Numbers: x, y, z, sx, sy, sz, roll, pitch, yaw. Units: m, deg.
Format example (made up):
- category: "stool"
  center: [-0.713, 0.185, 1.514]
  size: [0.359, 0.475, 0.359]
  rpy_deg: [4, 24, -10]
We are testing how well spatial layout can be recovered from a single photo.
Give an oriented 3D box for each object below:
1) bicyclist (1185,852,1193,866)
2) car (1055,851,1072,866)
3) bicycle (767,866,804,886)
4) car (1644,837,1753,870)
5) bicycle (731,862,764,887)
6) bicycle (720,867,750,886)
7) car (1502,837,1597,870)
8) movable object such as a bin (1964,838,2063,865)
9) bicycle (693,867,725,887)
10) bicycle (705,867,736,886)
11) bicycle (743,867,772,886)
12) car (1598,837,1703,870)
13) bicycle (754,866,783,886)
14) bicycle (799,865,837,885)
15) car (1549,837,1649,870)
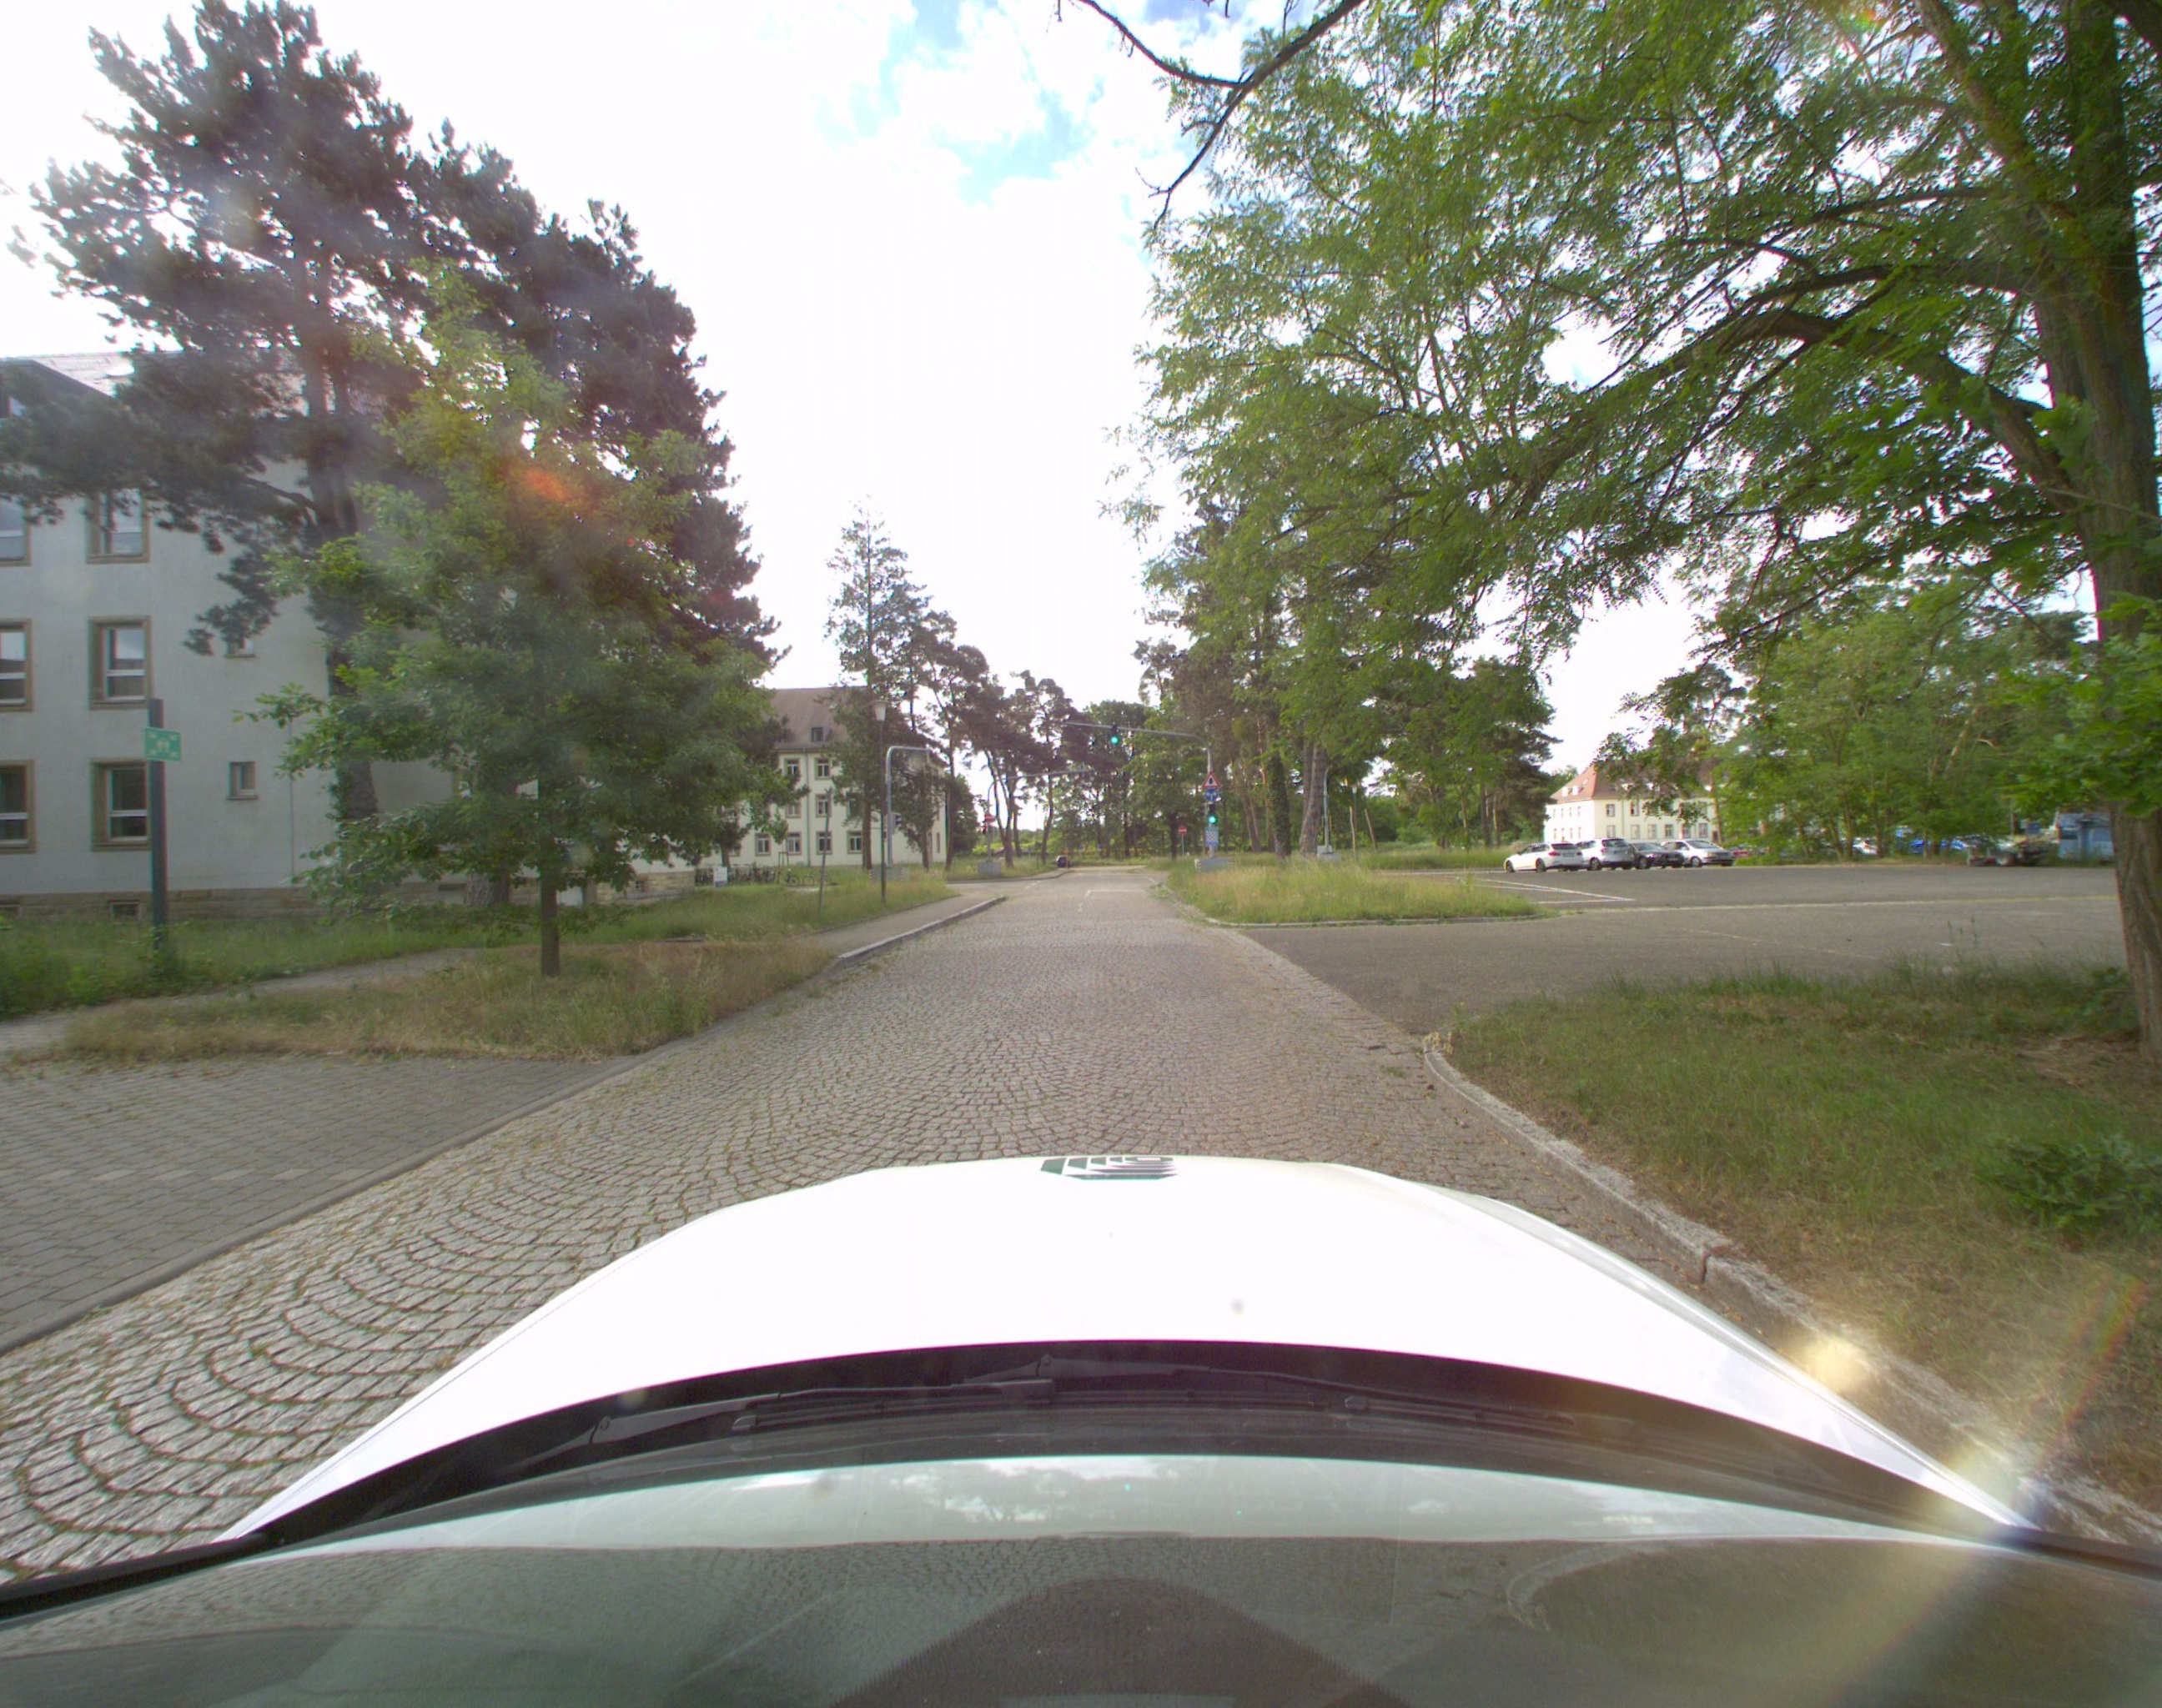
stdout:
- category: "bicyclist"
  center: [13.271, 0.628, 100.154]
  size: [0.751, 1.671, 0.523]
  rpy_deg: [0, -1, -19]
- category: "car"
  center: [-2.222, 0.610, 103.957]
  size: [2.049, 1.846, 4.001]
  rpy_deg: [-2, 0, 1]
- category: "bicycle"
  center: [-17.000, 1.246, 46.869]
  size: [1.848, 1.076, 0.739]
  rpy_deg: [-2, 0, 3]
- category: "car"
  center: [30.642, 0.009, 40.623]
  size: [1.988, 1.523, 4.422]
  rpy_deg: [0, -1, -2]
- category: "bicycle"
  center: [-19.818, 1.183, 48.457]
  size: [0.733, 1.385, 2.712]
  rpy_deg: [-2, 0, 2]
- category: "bicycle"
  center: [-20.611, 1.334, 48.584]
  size: [0.733, 1.076, 2.274]
  rpy_deg: [-2, 0, 2]
- category: "car"
  center: [22.781, 0.026, 39.844]
  size: [1.988, 1.481, 4.422]
  rpy_deg: [-2, -1, -2]
- category: "movable object such as a bin"
  center: [31.200, -0.084, 27.298]
  size: [1.179, 0.825, 1.957]
  rpy_deg: [-2, 0, 6]
- category: "bicycle"
  center: [-22.000, 1.338, 48.192]
  size: [0.733, 1.076, 2.274]
  rpy_deg: [-2, 0, 2]
- category: "bicycle"
  center: [-21.272, 1.323, 48.104]
  size: [0.733, 1.076, 2.274]
  rpy_deg: [-2, 0, 2]
- category: "bicycle"
  center: [-19.084, 1.313, 48.085]
  size: [0.733, 1.076, 2.274]
  rpy_deg: [-2, 0, 2]
- category: "car"
  center: [27.966, 0.027, 40.204]
  size: [1.988, 1.481, 4.422]
  rpy_deg: [-2, -1, -2]
- category: "bicycle"
  center: [-18.442, 1.291, 48.152]
  size: [0.733, 1.076, 2.274]
  rpy_deg: [-2, 0, 2]
- category: "bicycle"
  center: [-15.117, 1.190, 46.867]
  size: [1.848, 1.076, 0.832]
  rpy_deg: [-2, 0, 3]
- category: "car"
  center: [25.296, 0.026, 39.969]
  size: [1.988, 1.481, 4.422]
  rpy_deg: [-2, -1, -2]
